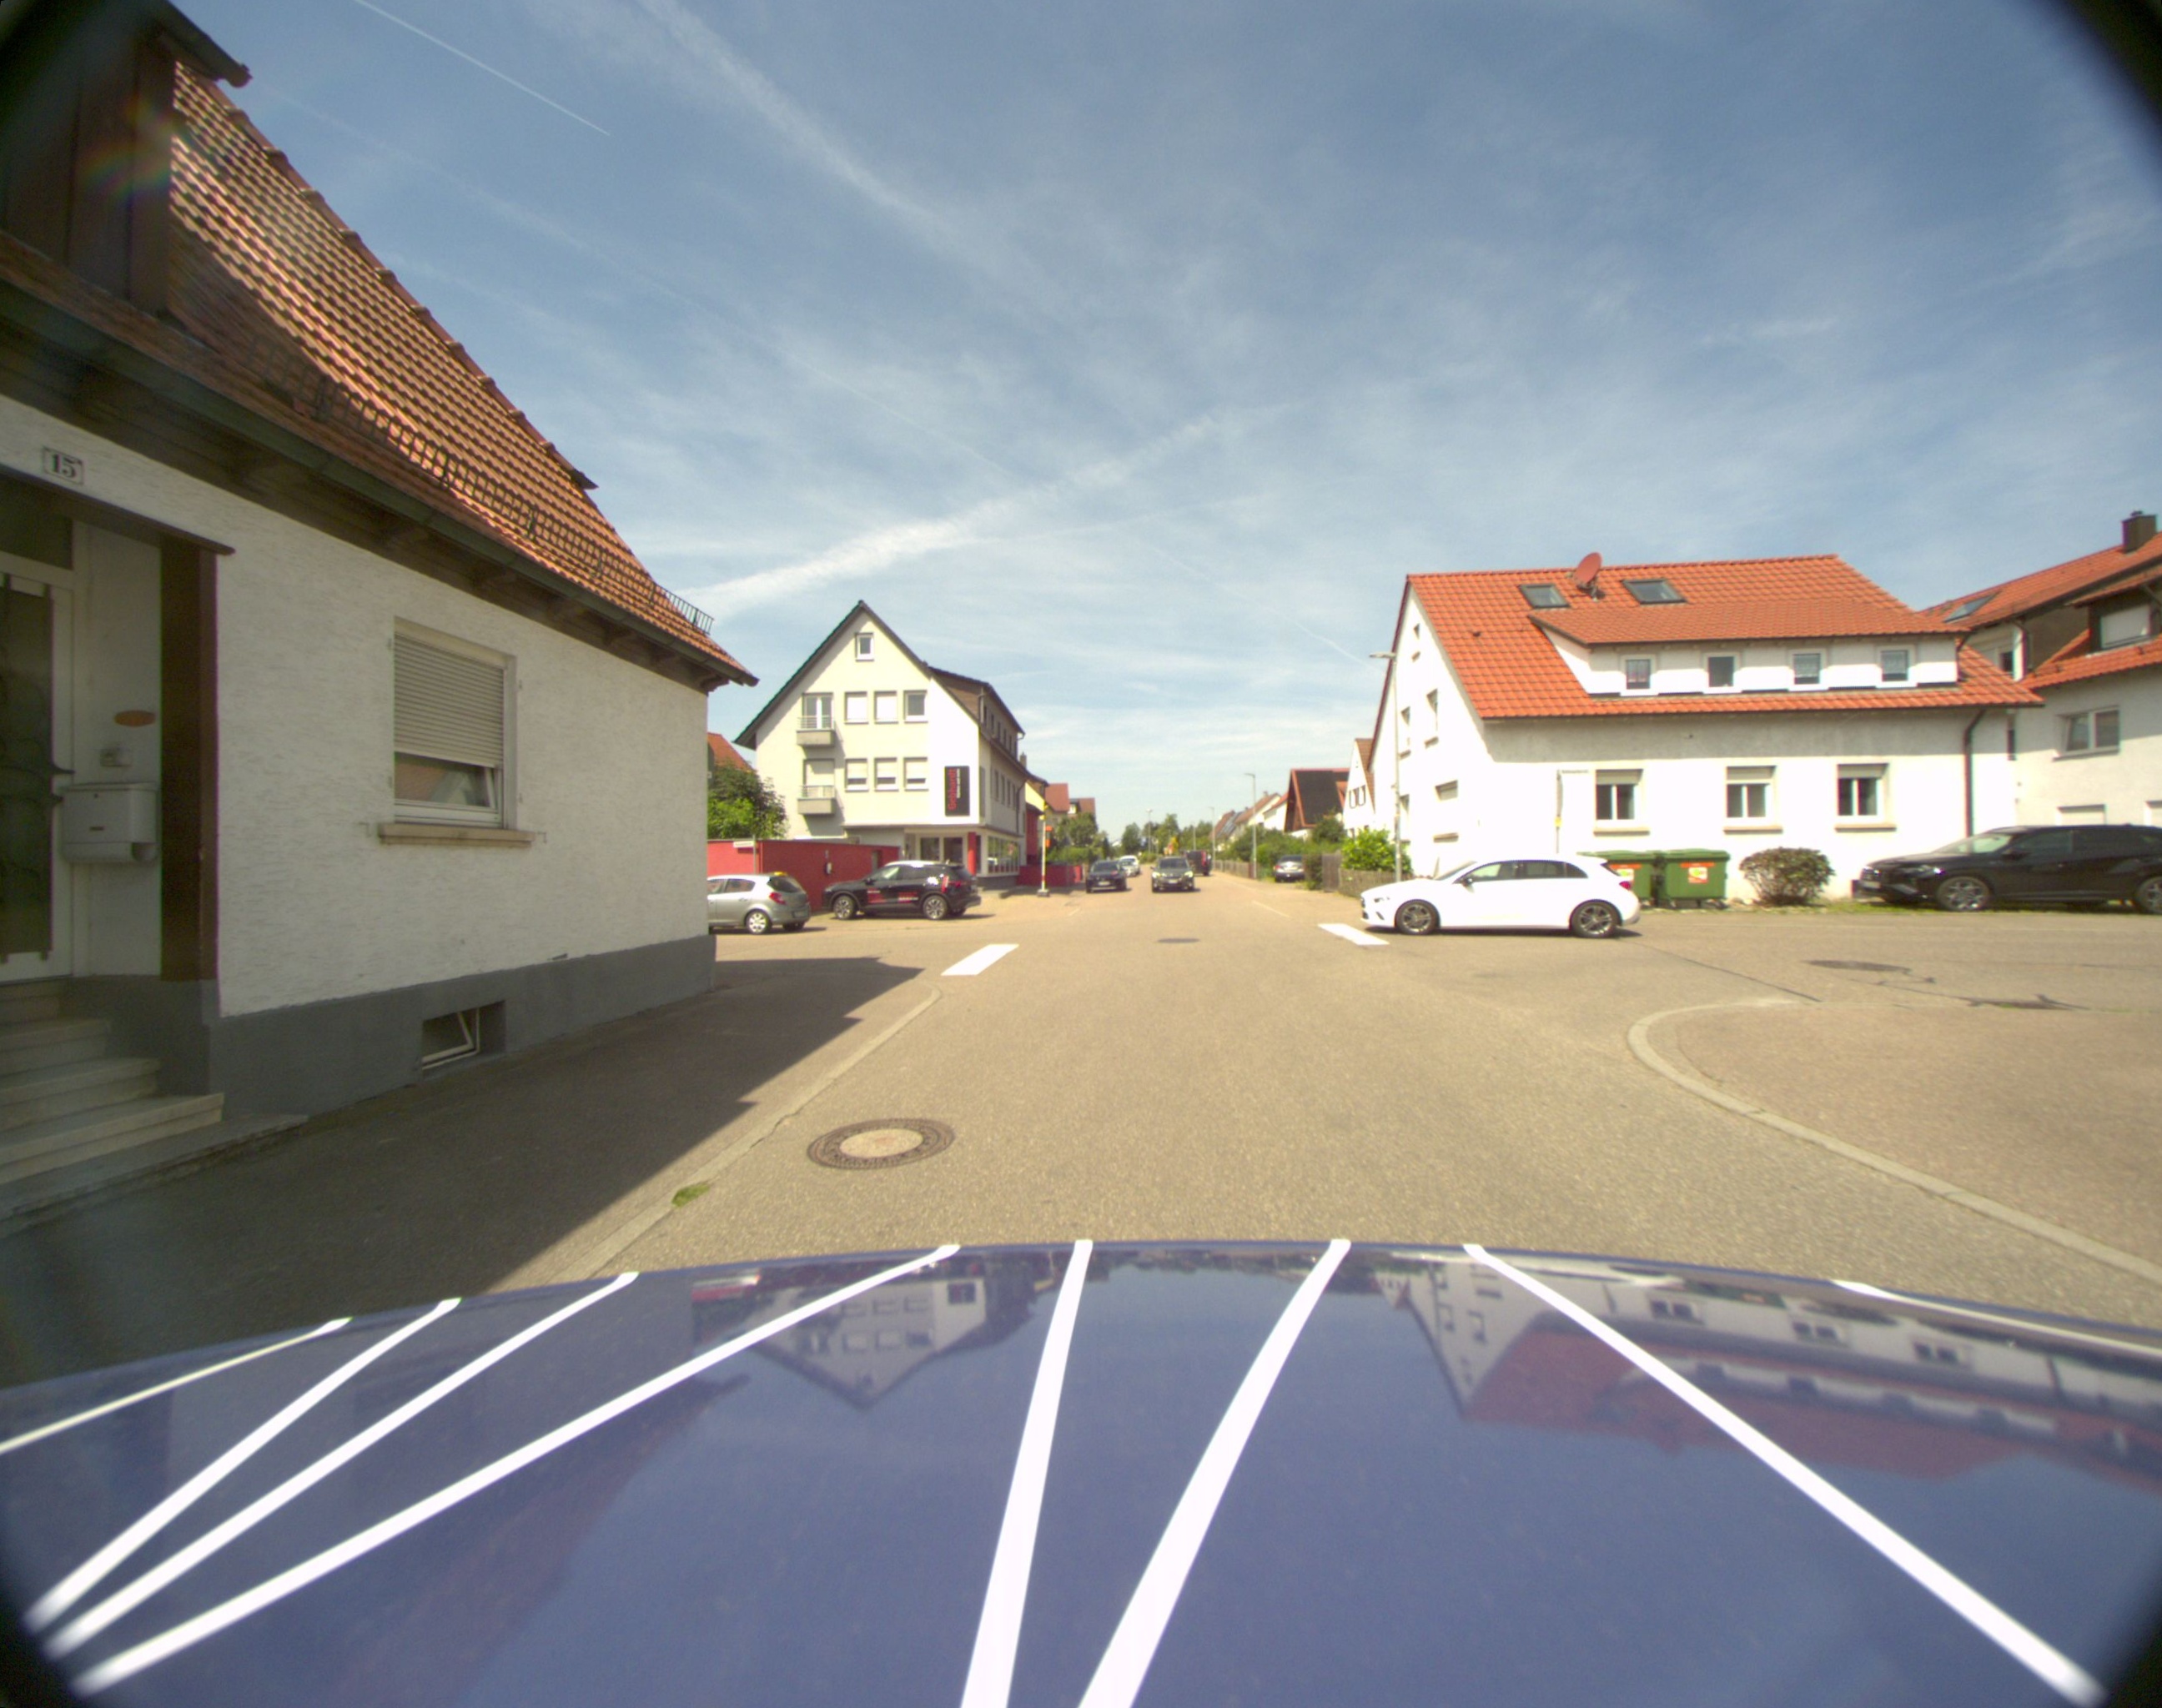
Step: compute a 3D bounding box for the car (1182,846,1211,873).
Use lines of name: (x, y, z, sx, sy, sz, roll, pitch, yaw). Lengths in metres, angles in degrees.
car: (9.008, 0.405, 59.440, 1.972, 1.940, 4.698, -2, 0, 6)

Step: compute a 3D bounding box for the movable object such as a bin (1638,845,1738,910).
movable object such as a bin: (13.247, 0.497, 16.653, 1.264, 1.328, 1.314, -2, 1, 14)

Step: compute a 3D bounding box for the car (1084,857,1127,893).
car: (1.270, 0.983, 37.034, 1.765, 1.518, 4.407, -3, 0, 5)

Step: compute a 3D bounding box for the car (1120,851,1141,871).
car: (4.507, 0.622, 68.630, 1.740, 1.652, 4.338, -3, 0, 5)

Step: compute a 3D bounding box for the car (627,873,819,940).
car: (-8.690, 1.259, 18.576, 3.994, 1.495, 1.696, -2, -1, 11)

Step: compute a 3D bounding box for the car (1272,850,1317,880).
car: (11.488, 0.560, 40.704, 1.829, 1.423, 4.570, -2, 0, 22)

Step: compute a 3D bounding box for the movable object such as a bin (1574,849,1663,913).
movable object such as a bin: (11.905, 0.583, 16.894, 1.264, 1.306, 1.167, -2, 1, 14)

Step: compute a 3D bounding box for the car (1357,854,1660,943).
car: (7.404, 0.770, 13.736, 4.485, 1.390, 1.932, -2, 0, 19)

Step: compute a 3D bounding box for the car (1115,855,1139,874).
car: (3.773, 0.813, 62.195, 1.755, 1.412, 4.422, -3, 0, 5)

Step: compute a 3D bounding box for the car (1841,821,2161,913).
car: (18.081, 0.250, 14.793, 4.268, 1.539, 1.792, -1, 4, 22)

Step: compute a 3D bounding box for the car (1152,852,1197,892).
car: (4.180, 0.761, 34.438, 1.837, 1.637, 4.325, -2, 0, 5)

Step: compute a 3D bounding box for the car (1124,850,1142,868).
car: (5.537, 0.523, 80.539, 1.669, 1.739, 4.057, -3, 0, 5)

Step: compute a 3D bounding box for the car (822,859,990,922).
car: (-5.031, 1.040, 22.087, 4.301, 1.643, 1.849, -2, 0, 10)

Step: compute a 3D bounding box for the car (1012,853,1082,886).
car: (-2.280, 1.066, 51.515, 4.377, 1.659, 1.877, -7, 0, 4)
